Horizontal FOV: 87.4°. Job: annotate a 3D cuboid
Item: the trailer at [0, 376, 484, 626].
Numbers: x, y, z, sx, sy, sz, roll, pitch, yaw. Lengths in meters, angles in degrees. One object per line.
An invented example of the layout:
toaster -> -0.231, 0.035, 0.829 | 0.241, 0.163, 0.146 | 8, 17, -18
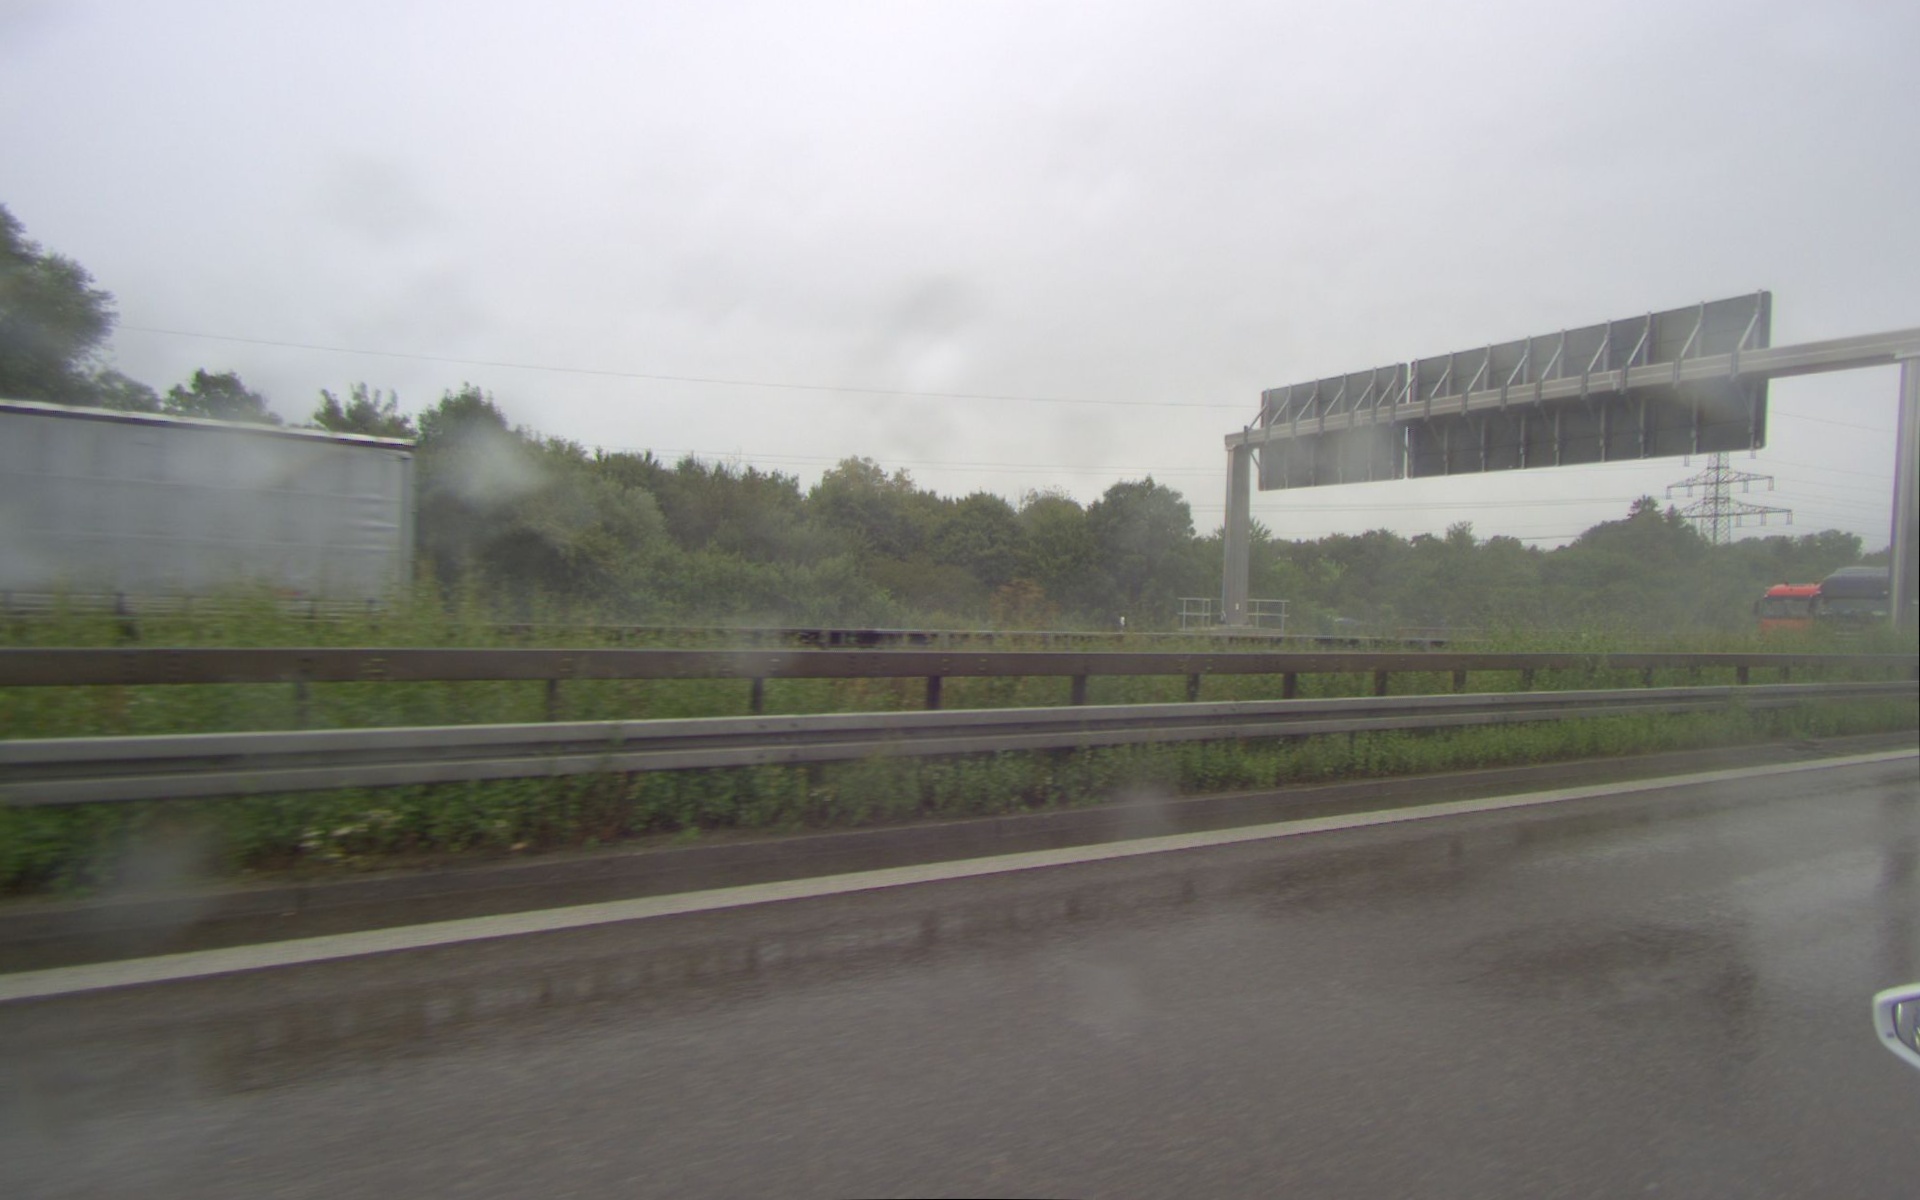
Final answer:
trailer -> -14.516, -1.453, 14.908 | 13.291, 3.454, 2.660 | 1, 2, -31

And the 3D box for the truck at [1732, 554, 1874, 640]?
truck -> 40.213, -0.134, 47.904 | 6.429, 3.771, 2.895 | 1, 3, -29

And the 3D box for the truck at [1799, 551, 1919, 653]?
truck -> 35.660, 0.066, 39.551 | 4.681, 3.759, 2.345 | 1, 3, -30
